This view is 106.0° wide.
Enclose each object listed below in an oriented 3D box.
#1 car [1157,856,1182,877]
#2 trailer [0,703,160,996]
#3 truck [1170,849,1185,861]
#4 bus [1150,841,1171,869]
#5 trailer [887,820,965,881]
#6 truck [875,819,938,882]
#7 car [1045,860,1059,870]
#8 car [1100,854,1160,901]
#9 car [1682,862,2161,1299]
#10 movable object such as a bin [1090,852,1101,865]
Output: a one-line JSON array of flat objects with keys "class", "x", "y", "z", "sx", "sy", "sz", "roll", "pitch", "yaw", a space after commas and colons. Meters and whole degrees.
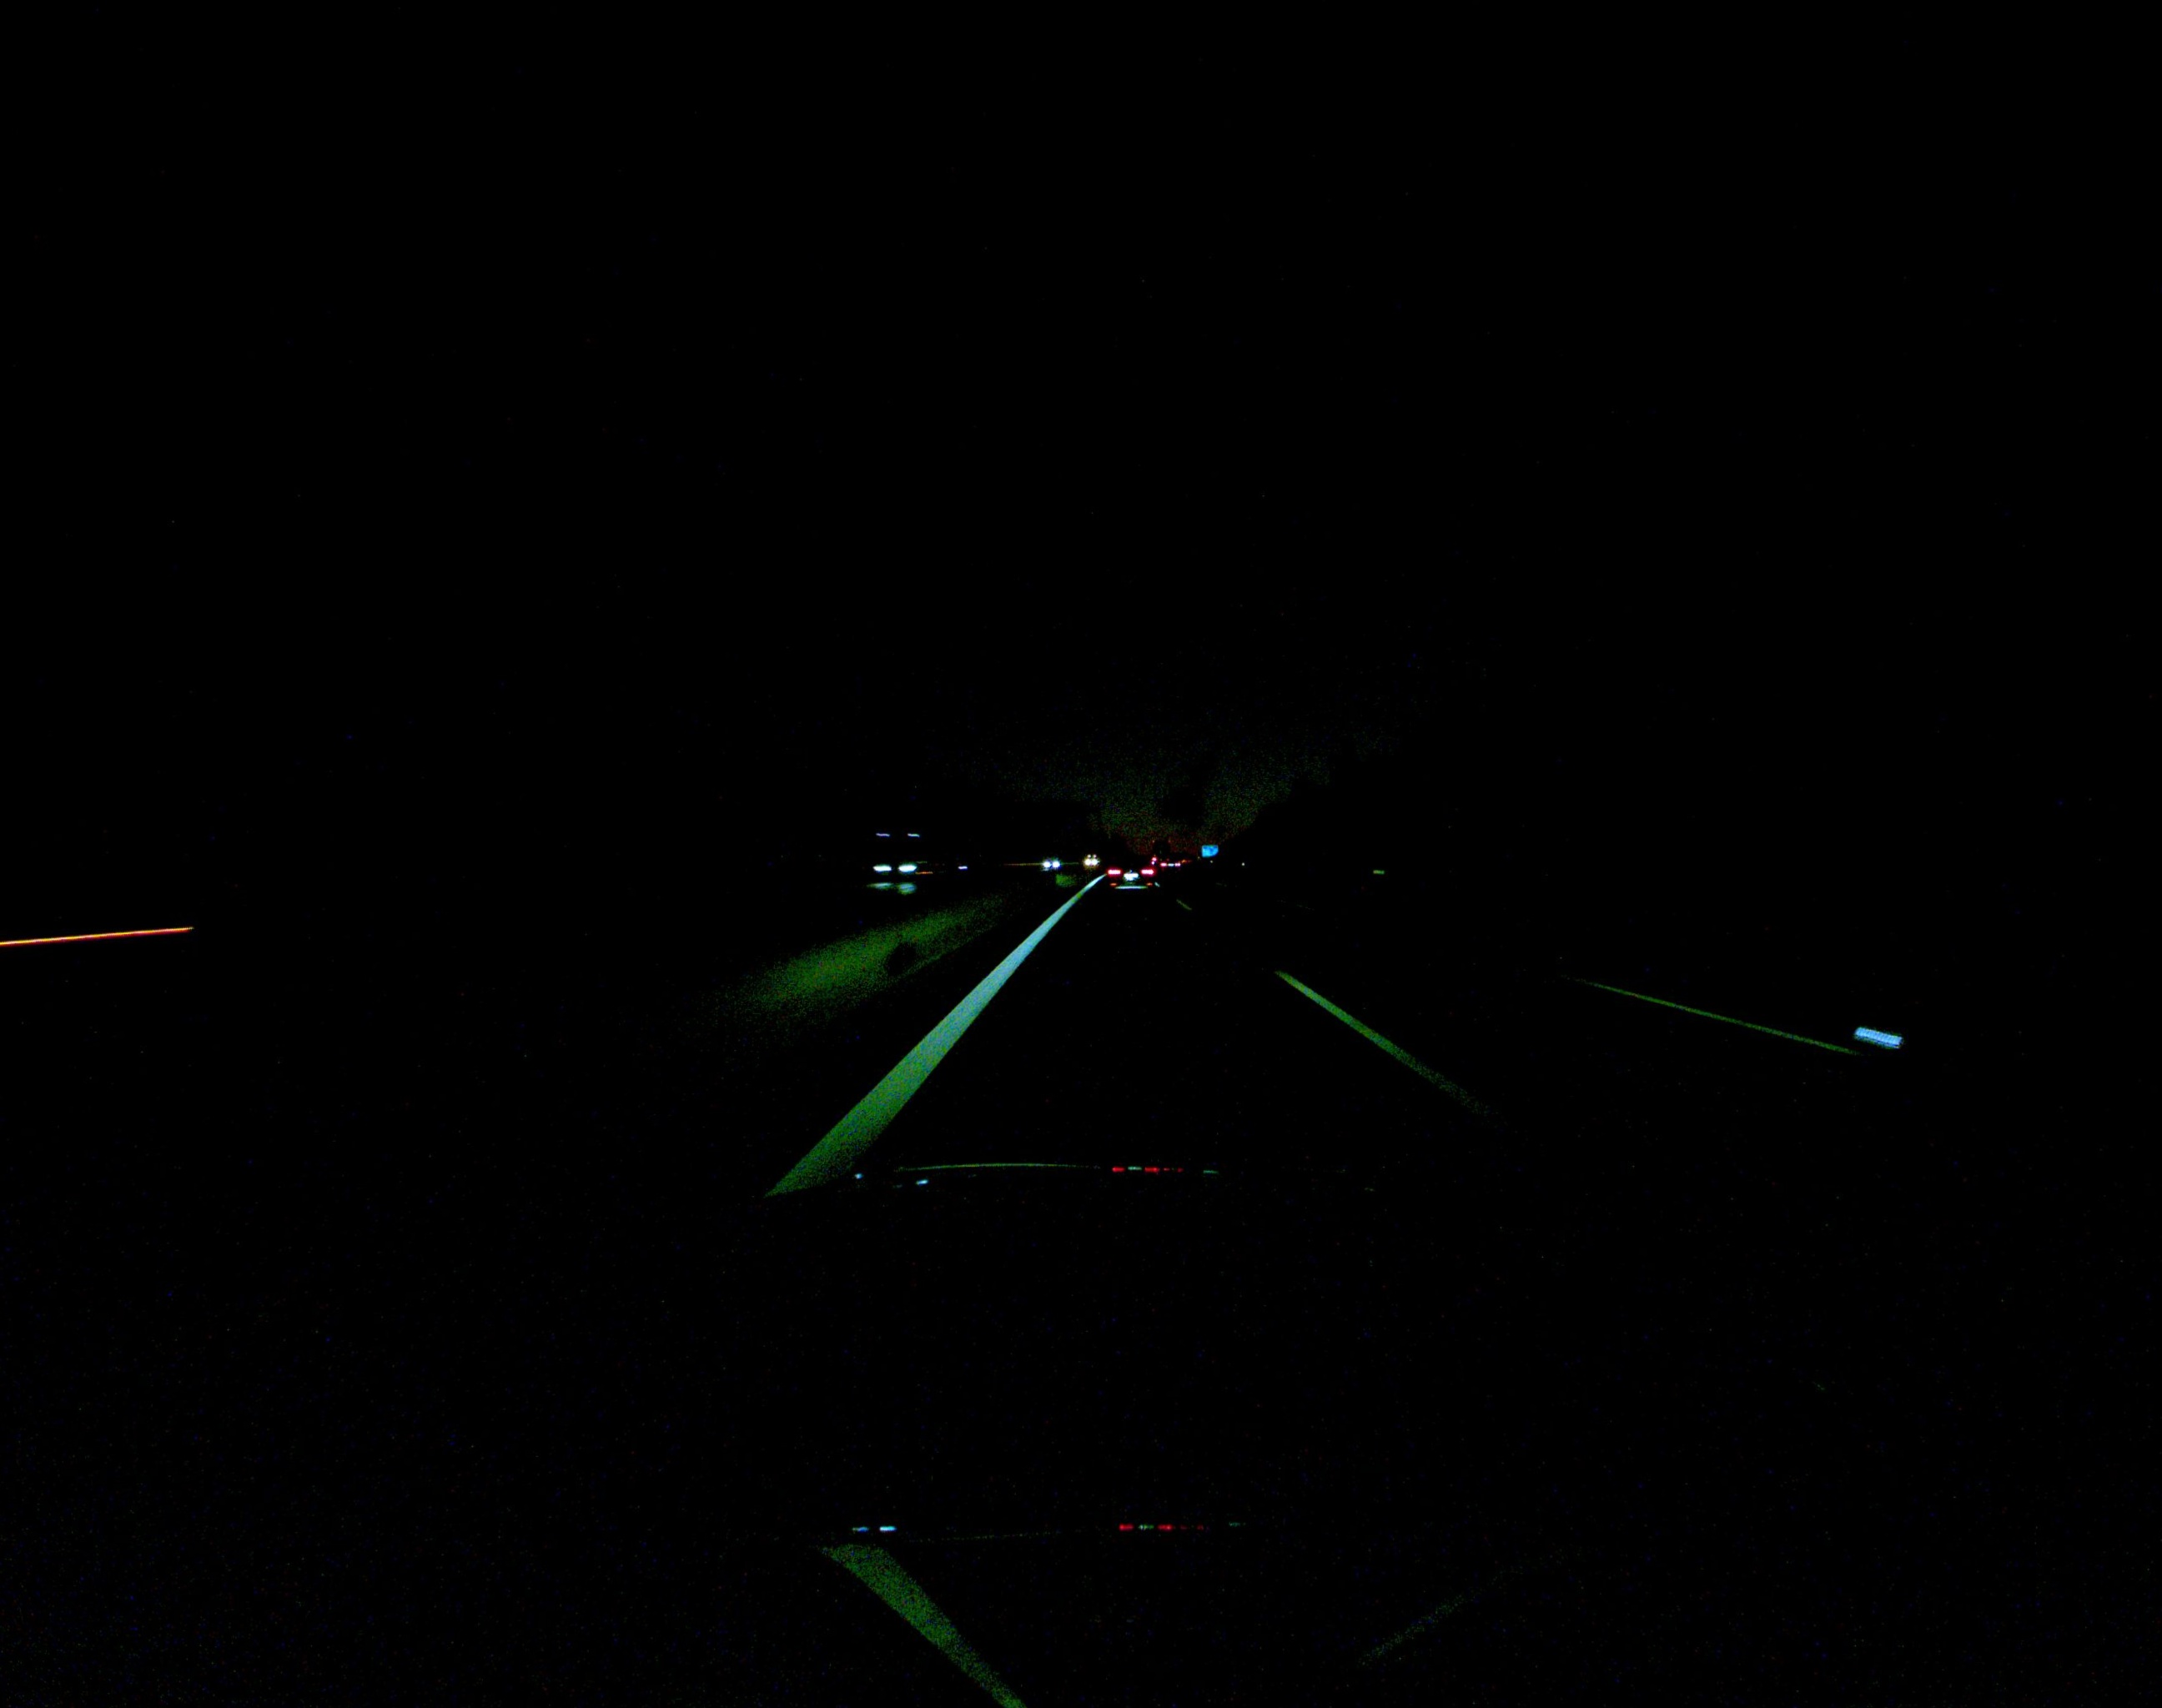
[{"class": "car", "x": 7.802, "y": 1.094, "z": 71.973, "sx": 1.903, "sy": 1.730, "sz": 4.003, "roll": 2, "pitch": -2, "yaw": 3}, {"class": "trailer", "x": -15.368, "y": -0.092, "z": 6.161, "sx": 3.045, "sy": 3.689, "sz": 11.695, "roll": 0, "pitch": 0, "yaw": 3}, {"class": "truck", "x": 24.454, "y": 0.296, "z": 206.879, "sx": 2.538, "sy": 3.016, "sz": 9.049, "roll": 0, "pitch": 0, "yaw": -1}, {"class": "bus", "x": 12.622, "y": 0.303, "z": 128.465, "sx": 2.638, "sy": 3.994, "sz": 14.730, "roll": -3, "pitch": -2, "yaw": 7}, {"class": "trailer", "x": -12.313, "y": -0.174, "z": 66.401, "sx": 2.840, "sy": 4.433, "sz": 13.993, "roll": 0, "pitch": 0, "yaw": 4}, {"class": "truck", "x": -12.717, "y": -0.227, "z": 59.926, "sx": 2.840, "sy": 4.433, "sz": 6.402, "roll": 0, "pitch": -1, "yaw": 3}, {"class": "car", "x": -4.334, "y": 1.627, "z": 122.122, "sx": 1.805, "sy": 1.453, "sz": 4.136, "roll": -1, "pitch": 0, "yaw": 3}, {"class": "car", "x": 1.780, "y": 0.831, "z": 30.886, "sx": 2.098, "sy": 1.618, "sz": 4.205, "roll": 1, "pitch": 0, "yaw": 1}, {"class": "car", "x": 4.449, "y": 0.748, "z": 2.256, "sx": 1.829, "sy": 1.401, "sz": 5.068, "roll": 0, "pitch": 0, "yaw": 0}, {"class": "movable object such as a bin", "x": 3.812, "y": 1.178, "z": 212.546, "sx": 2.197, "sy": 3.417, "sz": 7.448, "roll": -1, "pitch": -1, "yaw": 5}]
